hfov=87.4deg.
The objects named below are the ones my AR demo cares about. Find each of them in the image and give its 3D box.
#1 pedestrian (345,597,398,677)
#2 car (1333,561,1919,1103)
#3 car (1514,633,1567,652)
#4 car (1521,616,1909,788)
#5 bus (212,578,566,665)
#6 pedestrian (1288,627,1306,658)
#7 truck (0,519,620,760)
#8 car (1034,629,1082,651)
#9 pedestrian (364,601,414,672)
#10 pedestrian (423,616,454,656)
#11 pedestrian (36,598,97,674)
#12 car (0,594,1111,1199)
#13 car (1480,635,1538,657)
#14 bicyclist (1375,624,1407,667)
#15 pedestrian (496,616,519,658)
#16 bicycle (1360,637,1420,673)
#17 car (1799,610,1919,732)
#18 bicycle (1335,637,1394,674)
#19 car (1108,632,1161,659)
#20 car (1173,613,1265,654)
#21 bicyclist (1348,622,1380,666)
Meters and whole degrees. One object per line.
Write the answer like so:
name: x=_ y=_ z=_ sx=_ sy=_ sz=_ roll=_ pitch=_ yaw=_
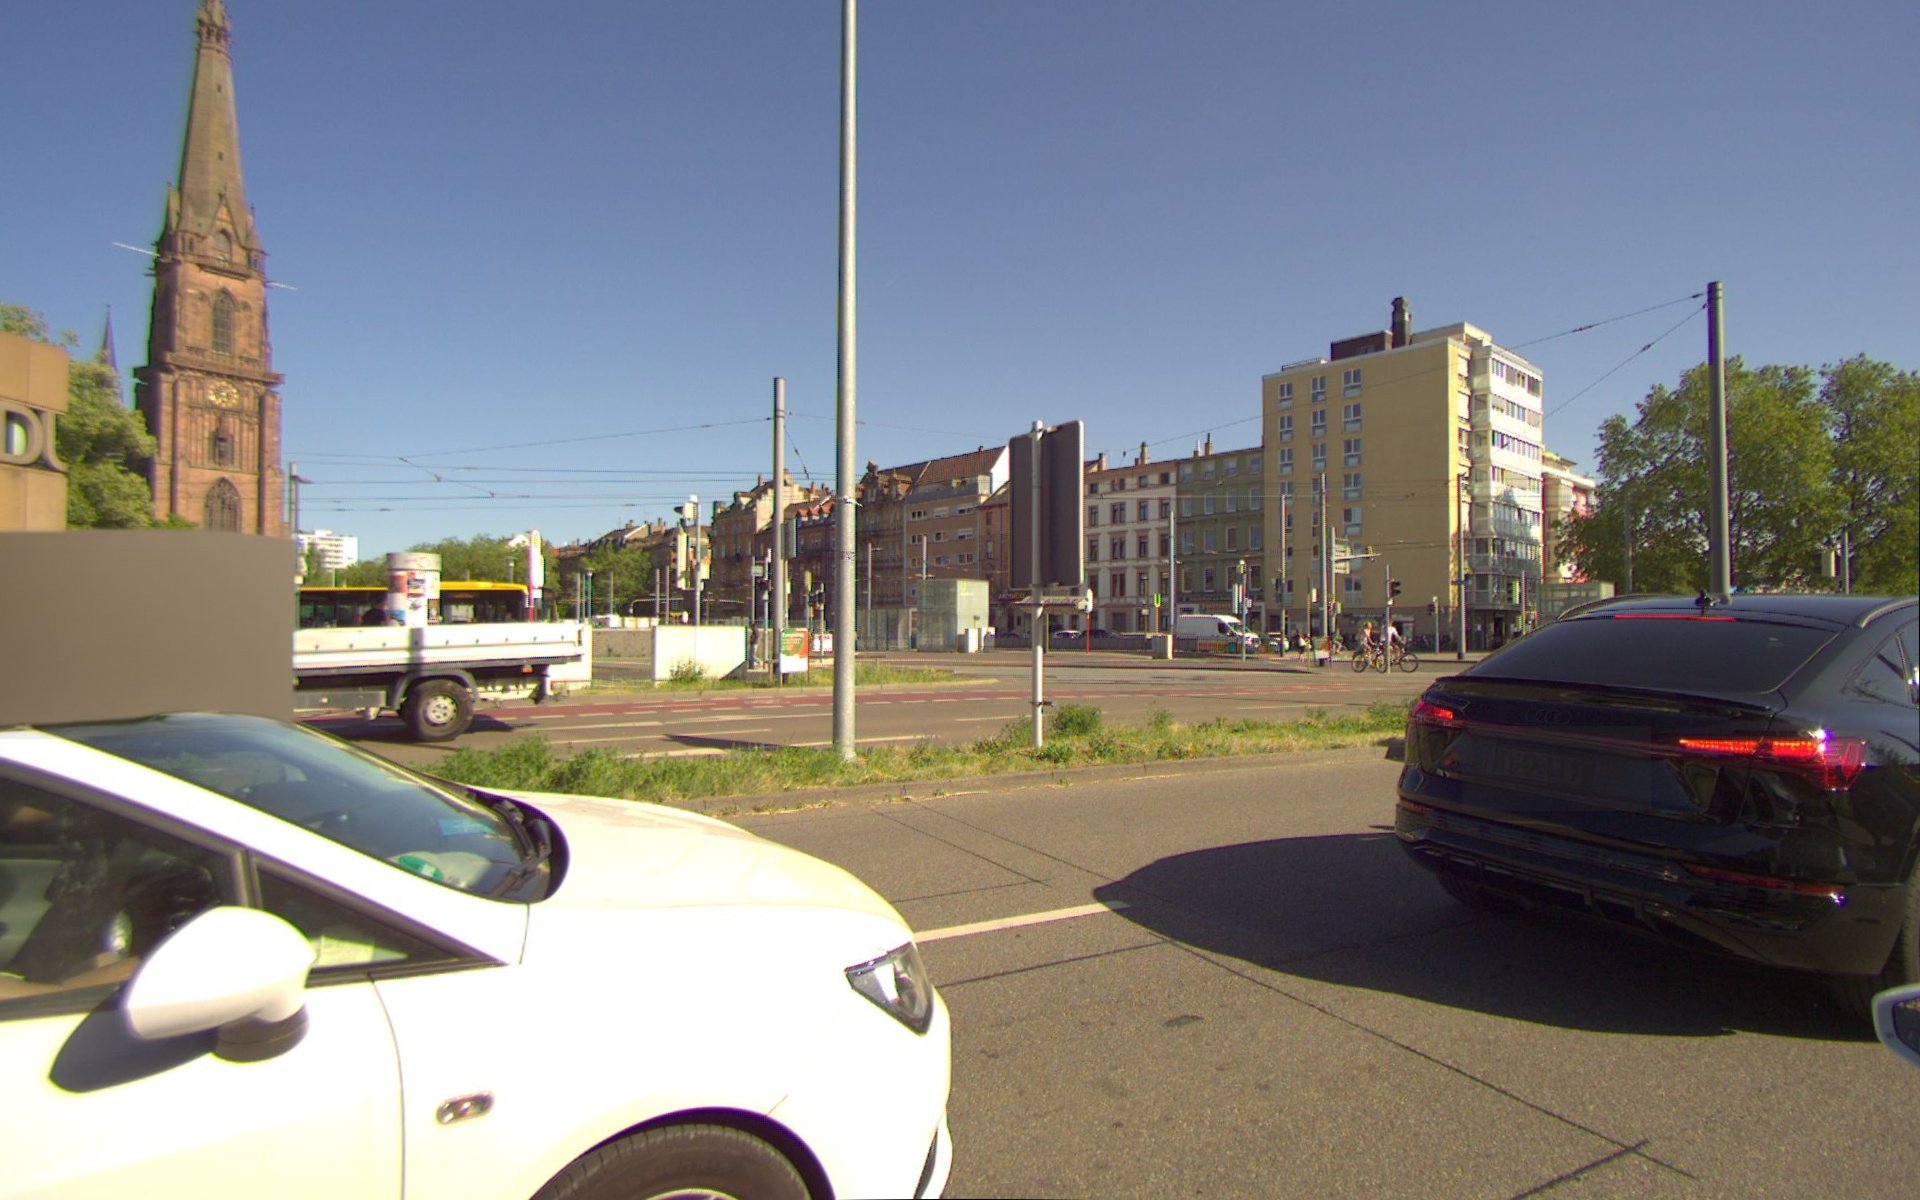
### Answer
pedestrian: x=-13.410 y=0.831 z=22.899 sx=0.634 sy=1.765 sz=0.790 roll=2 pitch=0 yaw=14
car: x=4.135 y=0.750 z=5.000 sx=4.326 sy=1.645 sz=1.975 roll=1 pitch=0 yaw=-30
car: x=44.138 y=3.181 z=76.430 sx=3.229 sy=1.334 sz=1.516 roll=-1 pitch=0 yaw=44
car: x=7.744 y=0.935 z=10.279 sx=3.750 sy=1.461 sz=1.719 roll=1 pitch=-1 yaw=-27
bus: x=-22.314 y=0.861 z=39.659 sx=12.337 sy=3.258 sz=2.975 roll=0 pitch=-1 yaw=2
pedestrian: x=15.994 y=2.020 z=47.687 sx=0.564 sy=1.427 sz=0.588 roll=-1 pitch=0 yaw=-42
truck: x=-7.843 y=0.459 z=12.070 sx=6.809 sy=2.344 sz=2.202 roll=1 pitch=-2 yaw=-33
car: x=8.630 y=3.498 z=88.721 sx=1.984 sy=1.795 sz=3.952 roll=-1 pitch=0 yaw=-41
pedestrian: x=-14.406 y=0.929 z=25.367 sx=0.634 sy=1.745 sz=0.791 roll=2 pitch=-2 yaw=14
pedestrian: x=-18.836 y=1.287 z=36.276 sx=0.785 sy=1.412 sz=0.640 roll=0 pitch=-1 yaw=25
pedestrian: x=-21.180 y=0.849 z=23.821 sx=0.634 sy=1.745 sz=0.790 roll=2 pitch=-2 yaw=2
car: x=-1.708 y=0.718 z=1.835 sx=3.693 sy=1.455 sz=1.683 roll=1 pitch=-1 yaw=-30
car: x=40.448 y=3.375 z=74.015 sx=1.682 sy=1.530 sz=3.397 roll=2 pitch=-2 yaw=-45
bicyclist: x=14.905 y=1.557 z=34.739 sx=0.635 sy=1.463 sz=0.771 roll=1 pitch=-1 yaw=-28
pedestrian: x=-17.006 y=1.376 z=37.759 sx=0.630 sy=1.555 sz=0.960 roll=1 pitch=-1 yaw=-17
bicycle: x=14.874 y=1.899 z=34.784 sx=0.635 sy=1.180 sz=1.943 roll=1 pitch=-1 yaw=-27
car: x=13.399 y=0.920 z=13.426 sx=3.853 sy=1.462 sz=1.722 roll=1 pitch=0 yaw=-22
bicycle: x=13.814 y=1.875 z=34.326 sx=0.635 sy=1.180 sz=1.943 roll=1 pitch=-1 yaw=-27
car: x=14.394 y=3.722 z=83.078 sx=1.984 sy=2.040 sz=3.952 roll=-1 pitch=0 yaw=-41
car: x=16.201 y=2.064 z=62.998 sx=1.986 sy=2.443 sz=5.436 roll=2 pitch=-2 yaw=-42
bicyclist: x=13.814 y=1.507 z=34.336 sx=0.635 sy=1.463 sz=0.771 roll=1 pitch=-1 yaw=-27
